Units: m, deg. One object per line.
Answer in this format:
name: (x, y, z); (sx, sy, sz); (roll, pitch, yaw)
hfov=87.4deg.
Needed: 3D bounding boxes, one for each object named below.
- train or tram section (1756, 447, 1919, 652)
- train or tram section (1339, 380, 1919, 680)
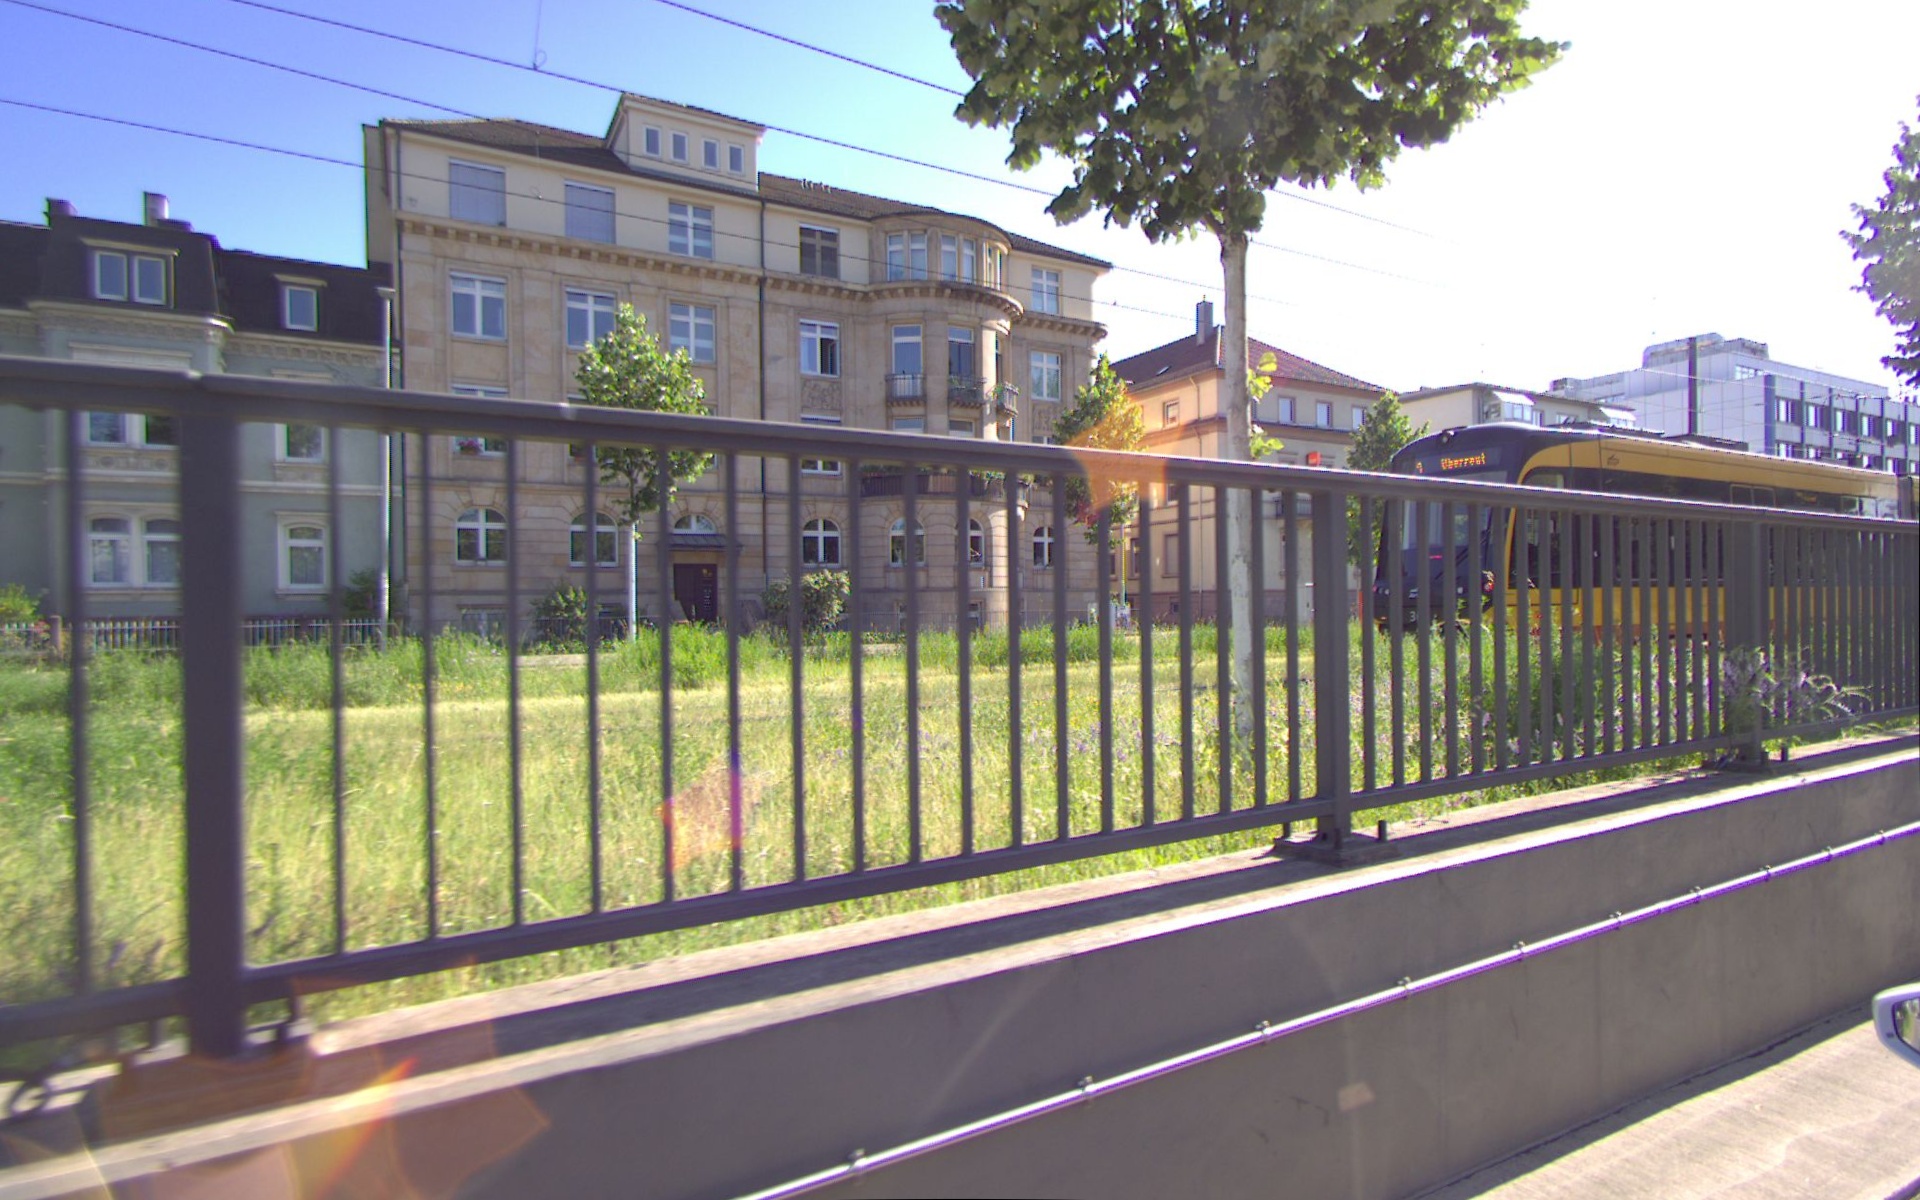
train or tram section: (23.123, -0.967, 23.447); (12.936, 3.872, 2.598); (0, 1, -31)
train or tram section: (11.902, -0.873, 16.859); (13.182, 3.705, 2.598); (0, 1, -30)
